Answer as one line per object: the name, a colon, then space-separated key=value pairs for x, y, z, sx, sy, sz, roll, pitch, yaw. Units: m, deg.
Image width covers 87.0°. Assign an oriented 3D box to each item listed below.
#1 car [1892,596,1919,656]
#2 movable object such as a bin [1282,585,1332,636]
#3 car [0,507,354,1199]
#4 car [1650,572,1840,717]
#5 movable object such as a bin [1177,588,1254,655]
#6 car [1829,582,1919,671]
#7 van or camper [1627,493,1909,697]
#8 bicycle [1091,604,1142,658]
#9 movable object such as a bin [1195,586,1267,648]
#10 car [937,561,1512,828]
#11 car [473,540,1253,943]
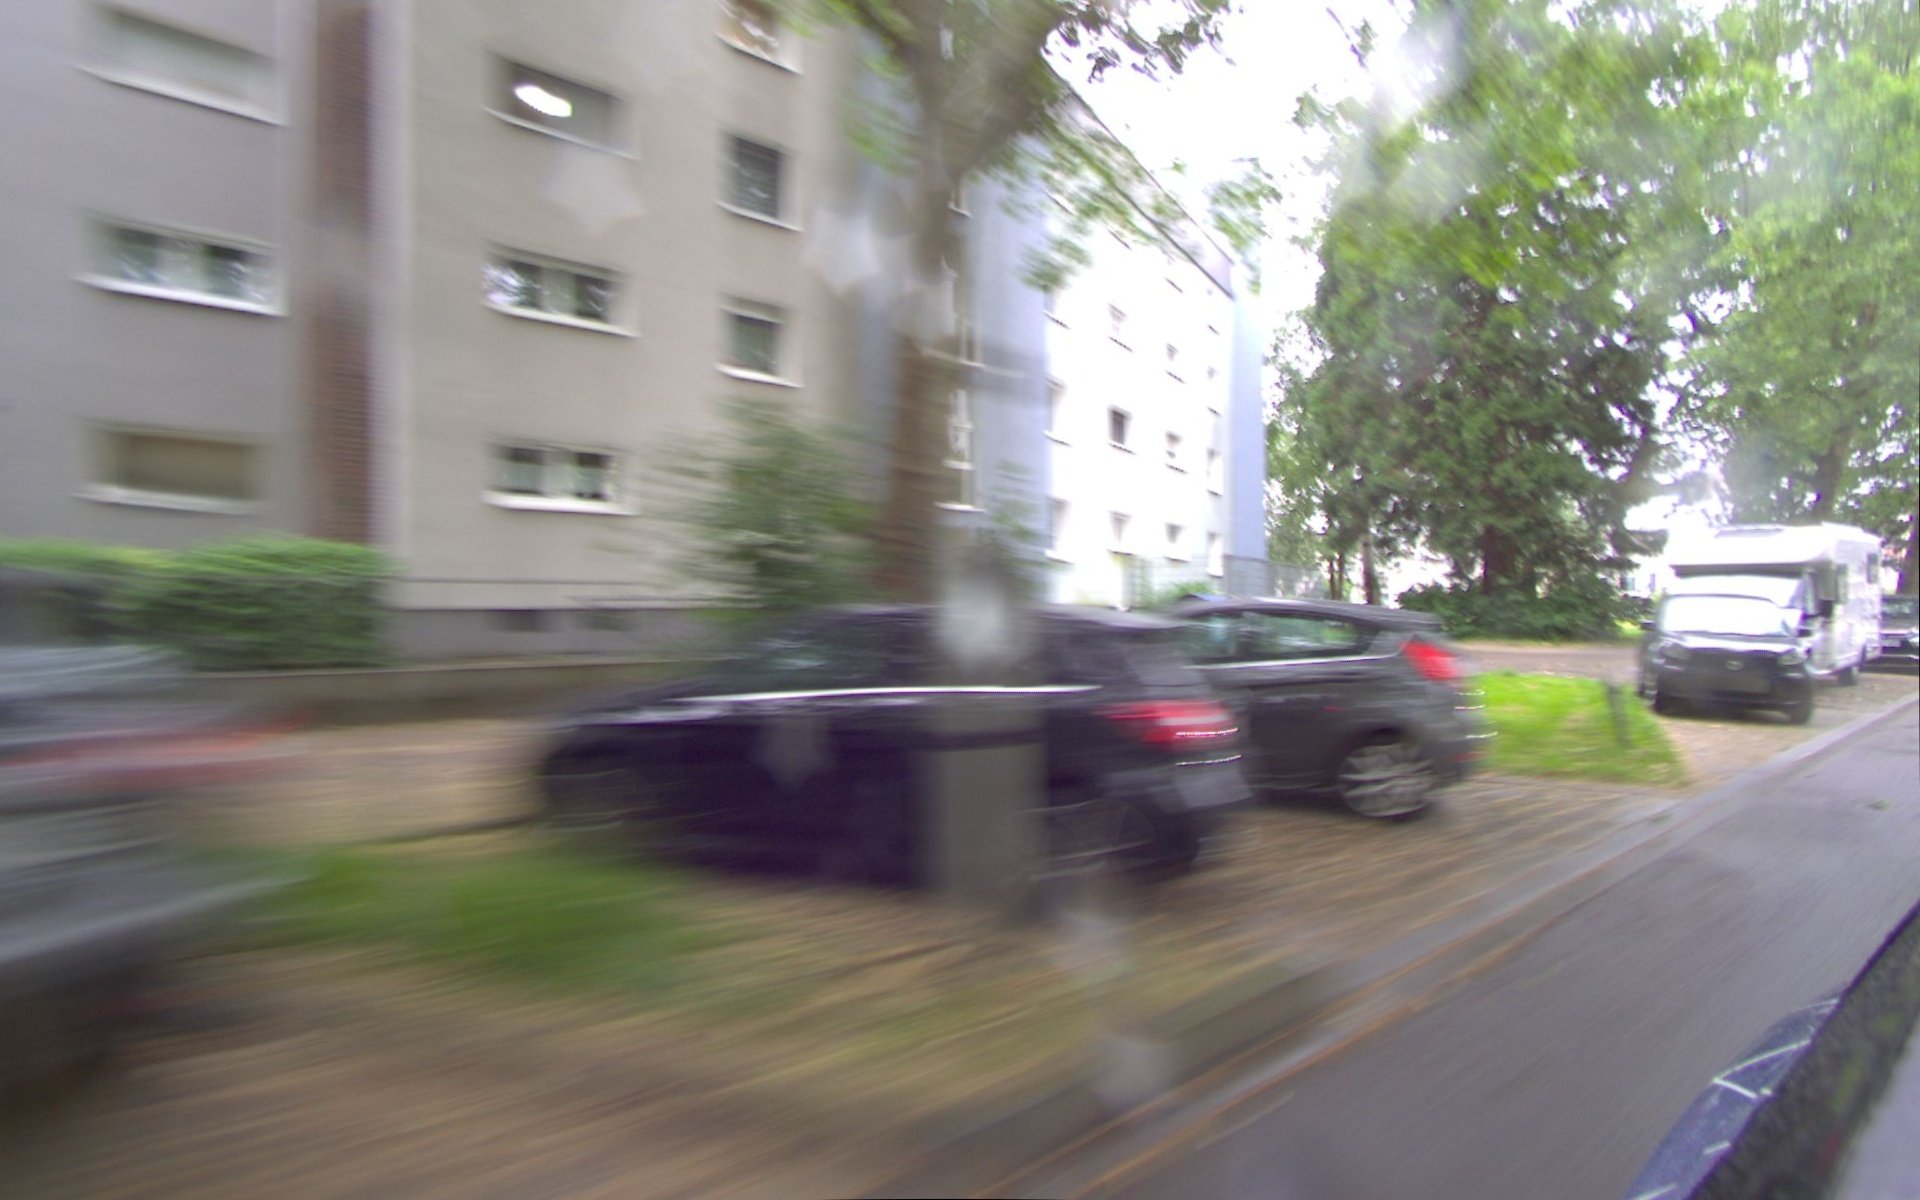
car: x=24.152 y=0.593 z=24.608 sx=4.074 sy=1.408 sz=1.552 roll=0 pitch=-1 yaw=-39
movable object such as a bin: x=10.551 y=0.313 z=30.752 sx=1.153 sy=1.491 sz=1.210 roll=2 pitch=0 yaw=31
car: x=-3.944 y=0.646 z=2.754 sx=3.953 sy=1.622 sz=2.020 roll=-1 pitch=-1 yaw=23
car: x=10.224 y=0.535 z=13.384 sx=1.680 sy=1.674 sz=2.911 roll=-2 pitch=-1 yaw=33
movable object such as a bin: x=5.864 y=0.484 z=23.123 sx=1.207 sy=1.451 sz=1.842 roll=-2 pitch=-1 yaw=32
car: x=19.797 y=0.490 z=21.151 sx=4.378 sy=1.641 sz=1.918 roll=-2 pitch=0 yaw=-42
van or camper: x=13.832 y=-0.071 z=17.117 sx=6.740 sy=2.843 sz=2.323 roll=0 pitch=-1 yaw=-39
bicycle: x=3.452 y=0.663 z=22.194 sx=0.390 sy=1.096 sz=1.648 roll=1 pitch=2 yaw=36
movable object such as a bin: x=6.665 y=0.409 z=24.815 sx=1.207 sy=1.451 sz=1.842 roll=-2 pitch=-1 yaw=32
car: x=1.880 y=0.618 z=7.645 sx=3.721 sy=1.622 sz=1.791 roll=-1 pitch=-1 yaw=20
car: x=-0.484 y=0.614 z=5.621 sx=3.949 sy=1.622 sz=1.791 roll=-1 pitch=-1 yaw=20
